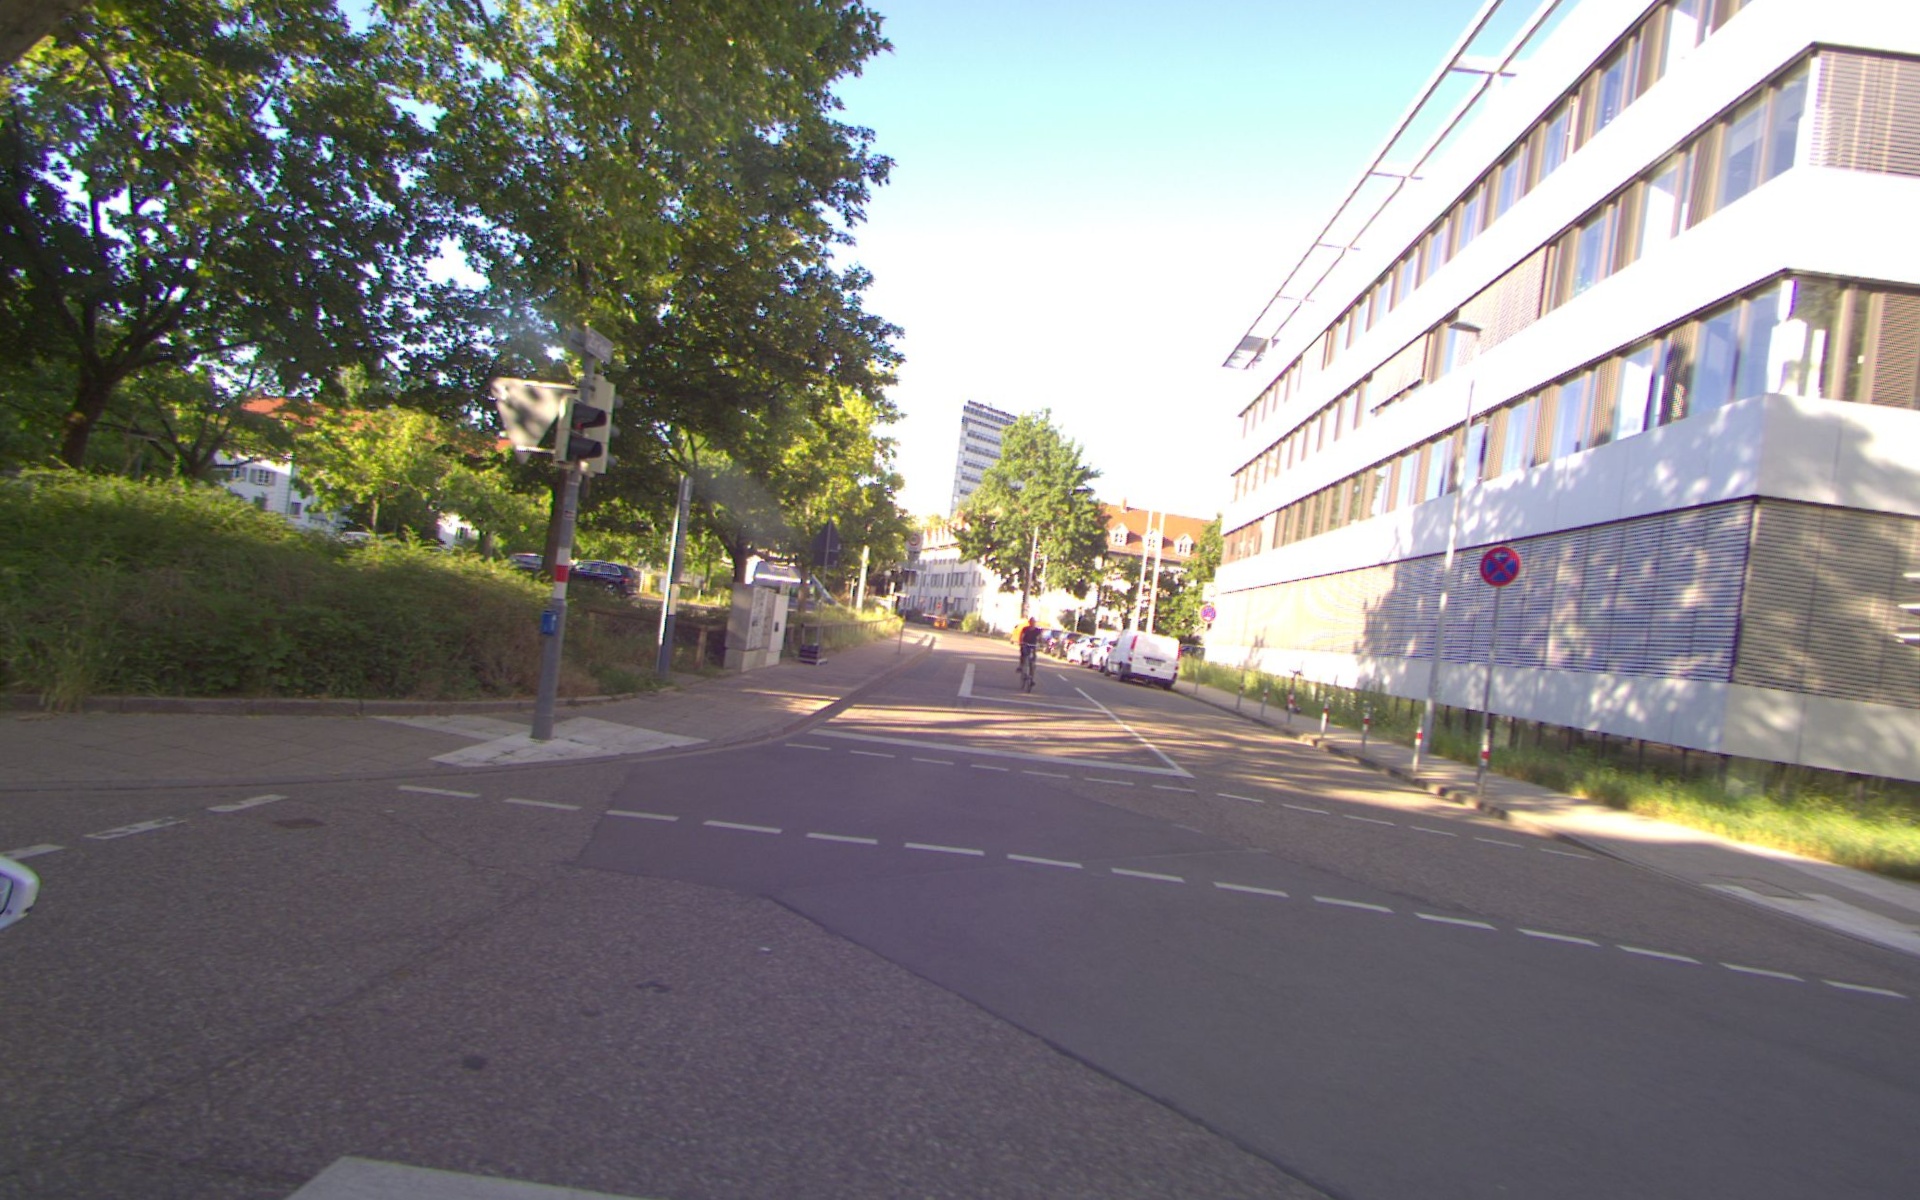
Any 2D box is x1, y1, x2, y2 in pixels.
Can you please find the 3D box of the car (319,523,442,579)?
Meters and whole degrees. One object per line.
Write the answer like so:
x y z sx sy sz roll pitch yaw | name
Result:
-24.386 -2.045 42.405 3.925 1.644 1.926 8 -2 4 | car

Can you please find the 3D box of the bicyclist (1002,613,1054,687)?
1.547 1.123 23.121 0.862 1.554 1.087 8 0 -3 | bicyclist

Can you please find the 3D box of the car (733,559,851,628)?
-8.122 -0.282 48.943 5.064 2.604 2.000 8 0 2 | car

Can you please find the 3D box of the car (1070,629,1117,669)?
6.155 2.247 46.769 1.600 1.503 3.851 8 -1 1 | car

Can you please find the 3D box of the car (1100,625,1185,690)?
6.451 2.000 36.129 2.070 1.850 4.720 8 -1 1 | car

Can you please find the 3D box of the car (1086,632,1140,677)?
6.339 2.229 42.029 1.600 1.503 3.851 8 -1 1 | car

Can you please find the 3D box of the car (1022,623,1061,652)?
5.022 2.299 62.375 1.602 1.508 3.599 8 -1 -6 | car

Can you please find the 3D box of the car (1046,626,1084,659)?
5.820 2.356 56.193 1.600 1.503 3.851 8 -1 1 | car

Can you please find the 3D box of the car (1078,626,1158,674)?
11.533 3.677 73.577 5.036 2.651 1.995 9 2 -11 | car

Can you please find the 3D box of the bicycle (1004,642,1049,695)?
1.505 1.552 23.124 0.705 1.029 2.023 7 -1 -3 | bicycle

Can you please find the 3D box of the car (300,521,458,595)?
-19.970 -1.418 34.695 4.231 1.833 1.788 8 0 2 | car

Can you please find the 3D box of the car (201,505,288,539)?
-49.784 -5.424 70.035 4.570 1.491 2.016 8 -2 4 | car

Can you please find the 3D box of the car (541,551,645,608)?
-17.984 -0.983 49.409 4.232 2.113 1.788 8 0 2 | car

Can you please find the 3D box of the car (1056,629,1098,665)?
5.972 2.394 51.546 1.600 1.503 3.851 8 -1 1 | car

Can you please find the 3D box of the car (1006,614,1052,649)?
4.606 2.067 67.829 2.054 1.809 4.905 7 1 -6 | car

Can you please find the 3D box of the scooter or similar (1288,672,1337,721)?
9.998 2.733 28.600 0.687 1.194 1.558 8 0 0 | scooter or similar
